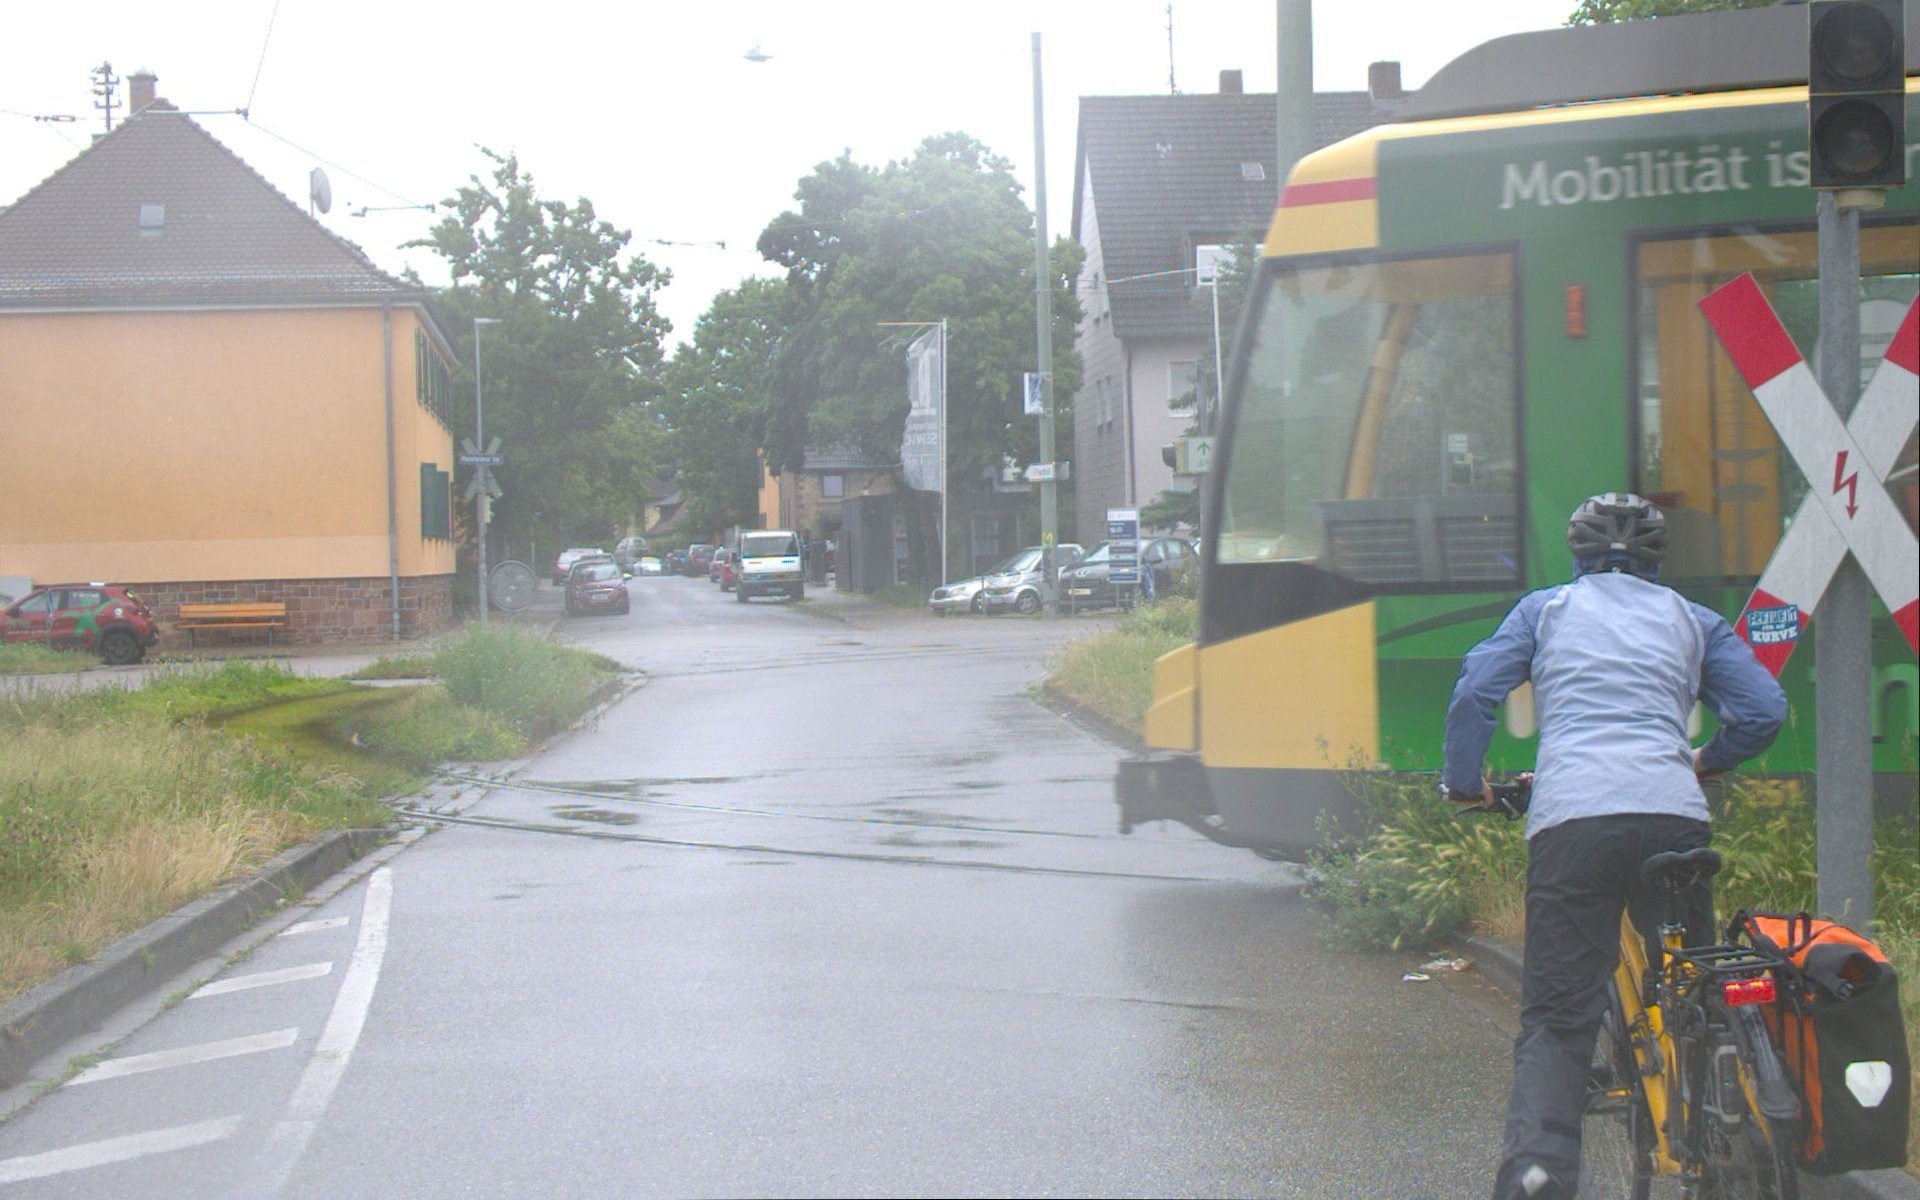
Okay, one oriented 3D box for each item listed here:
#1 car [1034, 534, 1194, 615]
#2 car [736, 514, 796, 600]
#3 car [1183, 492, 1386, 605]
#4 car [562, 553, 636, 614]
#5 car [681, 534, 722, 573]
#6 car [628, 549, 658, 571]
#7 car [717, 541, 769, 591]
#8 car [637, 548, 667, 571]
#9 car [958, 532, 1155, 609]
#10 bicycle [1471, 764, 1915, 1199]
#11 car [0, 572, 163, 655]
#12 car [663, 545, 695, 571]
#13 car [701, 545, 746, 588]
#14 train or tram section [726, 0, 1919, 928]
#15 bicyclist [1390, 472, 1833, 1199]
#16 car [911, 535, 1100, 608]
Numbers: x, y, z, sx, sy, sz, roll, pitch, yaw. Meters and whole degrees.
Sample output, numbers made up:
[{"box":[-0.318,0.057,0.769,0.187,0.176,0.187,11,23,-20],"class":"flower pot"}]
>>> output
[{"box":[3.297,-0.537,72.773,1.996,1.634,3.995,1,0,25],"class":"car"},{"box":[-6.069,-1.336,108.052,1.804,2.618,4.000,1,0,-3],"class":"car"},{"box":[7.547,-1.195,79.802,4.398,2.557,1.999,1,0,14],"class":"car"},{"box":[-10.032,-0.476,95.711,1.804,1.645,4.000,1,0,-3],"class":"car"},{"box":[-12.381,-2.222,164.641,1.804,1.805,4.000,1,0,-3],"class":"car"},{"box":[-21.557,-2.736,233.730,1.804,1.456,4.000,1,0,-3],"class":"car"},{"box":[-8.057,-1.247,127.930,1.804,1.805,4.000,1,0,-3],"class":"car"},{"box":[-20.449,-2.678,228.438,1.804,1.456,4.000,1,0,-3],"class":"car"},{"box":[2.177,-0.658,76.864,3.987,1.670,2.000,0,0,-36],"class":"car"},{"box":[1.376,0.885,6.708,0.446,1.001,1.728,-1,1,-2],"class":"bicycle"},{"box":[-16.666,0.227,62.598,3.986,1.451,1.834,1,0,-6],"class":"car"},{"box":[-17.237,-2.545,211.254,1.804,1.558,4.000,1,0,-3],"class":"car"},{"box":[-10.147,-1.434,147.414,1.804,1.805,4.000,1,0,-3],"class":"car"},{"box":[5.636,-0.741,12.021,13.107,3.541,2.766,-2,0,25],"class":"train or tram section"},{"box":[1.253,0.576,6.762,0.667,1.620,0.853,1,0,-2],"class":"bicyclist"},{"box":[1.066,-0.666,79.932,3.987,1.637,2.000,0,0,-36],"class":"car"}]
